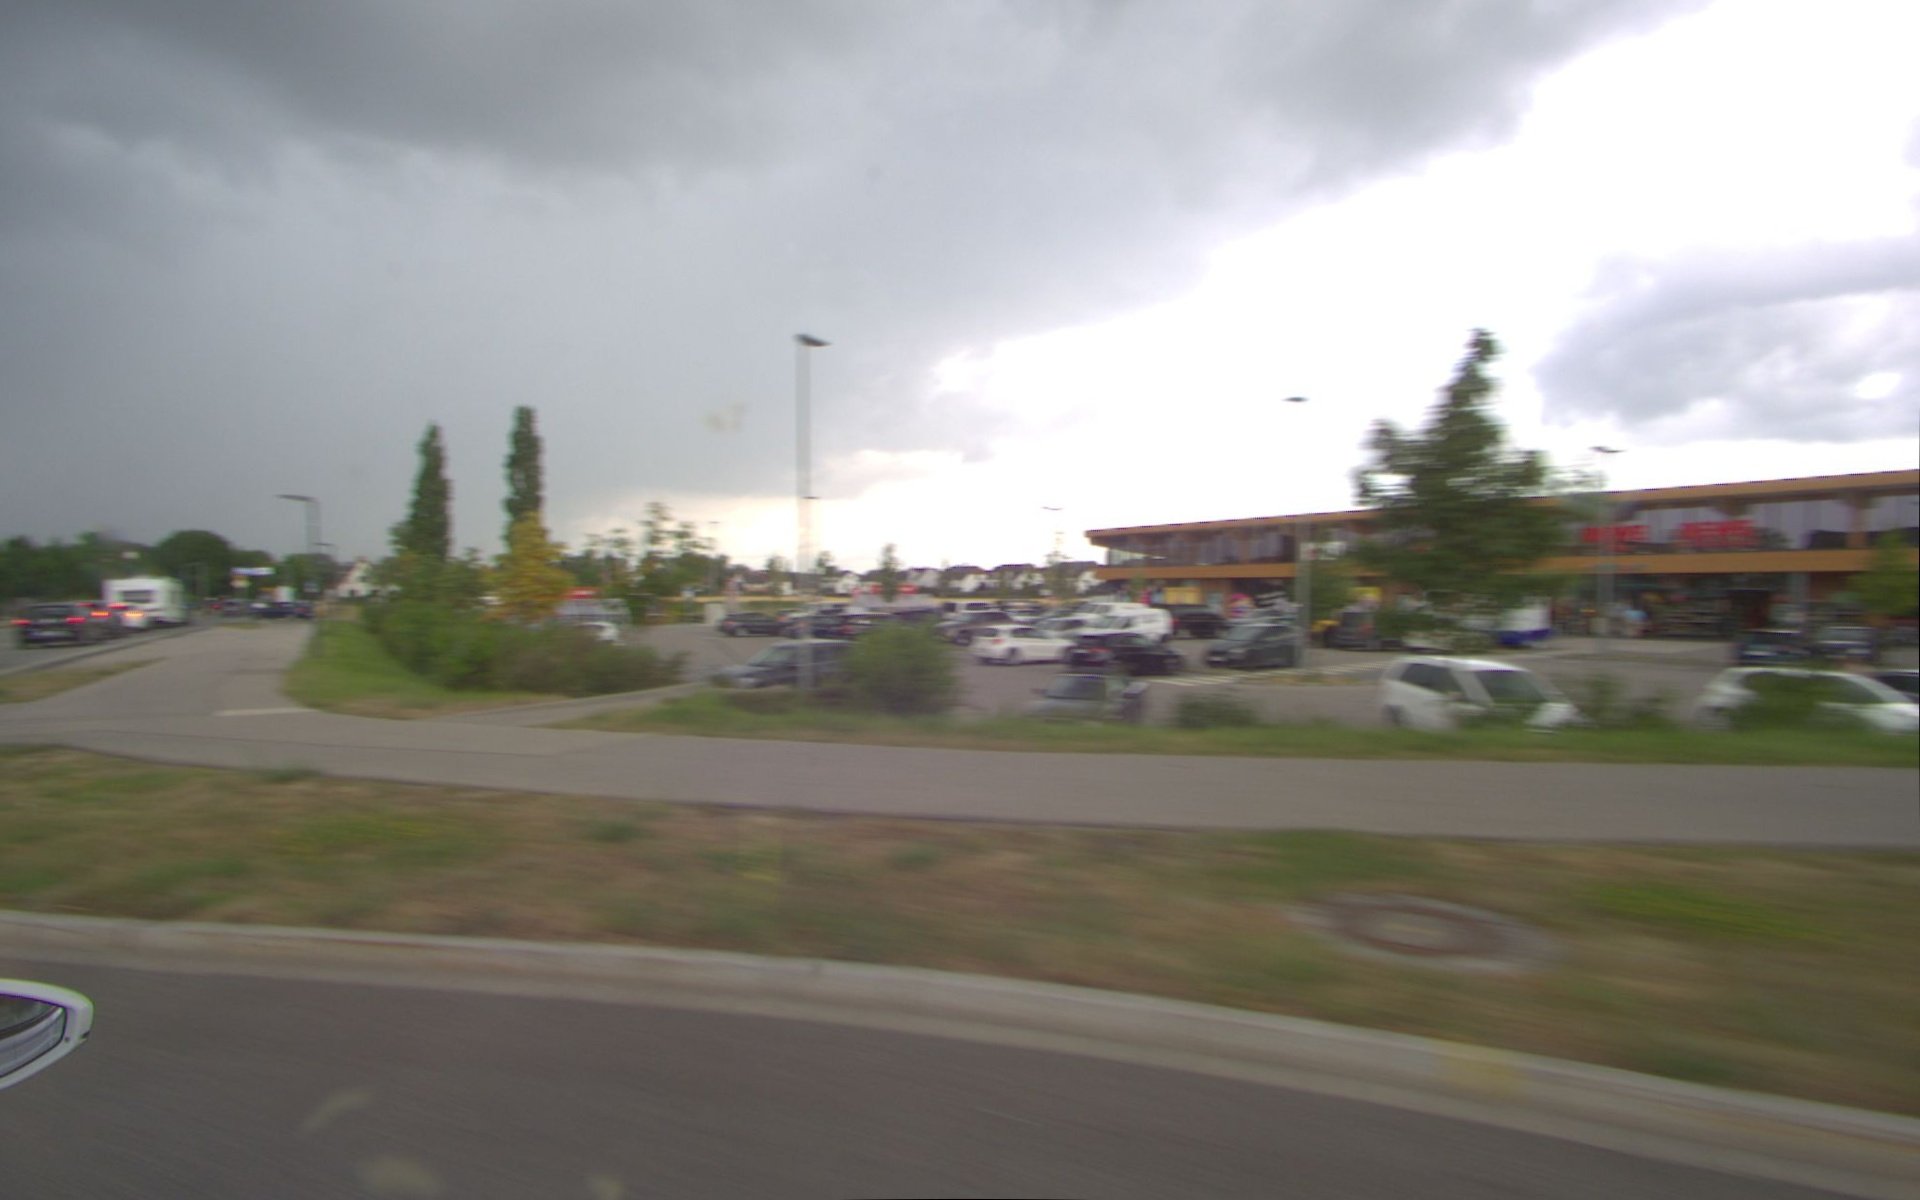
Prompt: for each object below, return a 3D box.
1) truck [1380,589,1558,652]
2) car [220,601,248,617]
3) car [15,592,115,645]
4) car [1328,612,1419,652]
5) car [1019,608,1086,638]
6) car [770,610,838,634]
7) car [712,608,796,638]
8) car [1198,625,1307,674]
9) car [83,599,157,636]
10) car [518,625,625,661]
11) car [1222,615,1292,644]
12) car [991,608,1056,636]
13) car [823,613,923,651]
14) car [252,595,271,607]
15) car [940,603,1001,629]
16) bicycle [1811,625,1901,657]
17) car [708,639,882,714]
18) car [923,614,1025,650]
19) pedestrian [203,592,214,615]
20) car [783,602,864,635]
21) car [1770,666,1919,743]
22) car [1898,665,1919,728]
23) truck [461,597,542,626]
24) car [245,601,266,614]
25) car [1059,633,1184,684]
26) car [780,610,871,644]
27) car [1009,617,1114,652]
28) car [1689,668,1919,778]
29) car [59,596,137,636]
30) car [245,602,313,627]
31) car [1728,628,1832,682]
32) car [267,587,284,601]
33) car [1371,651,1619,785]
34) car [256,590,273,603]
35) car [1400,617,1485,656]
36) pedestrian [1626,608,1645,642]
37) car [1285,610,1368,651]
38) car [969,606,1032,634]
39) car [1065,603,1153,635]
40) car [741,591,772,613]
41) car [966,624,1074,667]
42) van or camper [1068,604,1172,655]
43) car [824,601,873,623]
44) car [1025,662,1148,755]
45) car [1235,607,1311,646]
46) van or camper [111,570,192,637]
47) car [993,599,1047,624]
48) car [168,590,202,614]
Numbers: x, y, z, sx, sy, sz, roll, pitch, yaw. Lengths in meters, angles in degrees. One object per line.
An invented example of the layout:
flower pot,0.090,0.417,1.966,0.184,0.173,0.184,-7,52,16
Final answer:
truck,24.693,0.922,48.923,2.940,2.844,7.203,0,0,-37
car,-67.012,0.828,92.506,1.826,1.454,3.975,1,-1,-33
car,-29.329,0.579,32.922,1.758,1.639,3.976,-1,0,-32
car,18.638,1.426,45.084,4.066,1.747,1.841,1,-1,-34
car,6.014,1.492,65.320,3.941,1.862,1.990,0,0,-29
car,-10.630,1.464,68.275,4.265,1.598,1.758,0,0,-31
car,-12.298,1.365,59.820,4.509,1.686,1.988,0,0,-33
car,10.371,1.708,35.397,3.953,1.574,1.718,0,0,-38
car,-38.665,0.819,46.170,1.972,1.617,3.979,0,-1,-31
car,-17.448,1.910,45.033,4.188,1.459,1.988,0,0,-33
car,17.297,1.682,58.248,4.173,1.633,1.755,1,0,-36
car,4.298,1.466,67.859,3.943,1.862,1.990,0,0,-30
car,-4.115,1.508,47.454,4.405,1.728,1.792,1,0,-33
car,-91.243,0.151,130.876,1.826,1.454,3.975,1,-1,-33
car,0.741,1.132,72.307,3.942,1.862,1.990,0,0,-29
bicycle,39.886,1.802,44.623,0.967,1.326,2.851,0,0,-33
car,-4.049,1.827,24.915,3.957,1.628,1.775,0,-1,-41
car,0.740,1.567,50.724,4.923,1.686,1.988,0,0,-33
pedestrian,-65.689,0.309,87.561,0.571,2.039,0.678,2,-1,-26
car,-8.994,1.195,66.231,5.072,2.041,1.980,-1,2,-43
car,18.536,2.066,19.755,1.686,1.311,3.670,2,-1,-16
car,21.370,2.066,20.153,1.388,1.311,3.675,0,0,-4
truck,-31.053,0.795,67.852,4.753,1.897,1.985,1,0,-37
car,-80.225,0.894,114.069,1.826,1.454,3.975,1,-1,-33
car,5.269,1.839,32.488,3.951,1.417,1.822,0,1,-37
car,-7.080,1.369,52.792,4.358,1.686,1.988,0,0,-33
car,4.717,1.568,46.187,4.724,1.504,1.892,0,0,-33
car,15.811,2.111,18.075,1.963,1.527,3.996,0,-1,-13
car,-33.252,0.609,38.711,1.758,1.453,3.778,-1,0,-33
car,-51.801,1.100,76.186,3.925,1.817,1.617,0,0,-11
car,26.899,1.759,32.826,3.623,1.589,1.704,0,0,-35
car,-118.407,-1.027,173.202,1.970,2.241,3.981,0,0,-28
car,9.441,1.986,18.170,1.766,1.696,4.440,-1,2,-6
car,-103.910,-0.545,149.700,1.974,1.862,3.974,1,-1,-34
car,20.655,1.518,42.813,3.953,1.550,1.718,0,0,-38
pedestrian,34.539,1.273,51.207,0.741,1.679,0.799,1,1,39
car,17.641,1.424,48.133,3.946,1.879,1.761,1,0,-33
car,2.858,1.386,70.203,3.941,1.862,1.990,0,0,-29
car,8.963,1.135,59.975,5.232,1.855,1.988,1,-1,-33
car,-19.836,0.183,97.437,1.970,2.039,3.984,3,-1,-26
car,2.290,1.670,37.678,3.948,1.504,1.670,1,0,-37
van or camper,7.127,1.327,44.450,4.748,2.125,1.752,3,-2,-37
car,-10.062,1.102,90.302,3.943,1.861,1.990,3,-1,-29
car,2.514,1.991,19.206,1.553,1.390,3.725,0,-1,20
car,15.978,1.325,51.002,3.951,1.879,1.759,0,0,-37
van or camper,-43.295,0.254,53.786,2.598,3.367,6.781,0,-1,-33
car,4.726,0.897,79.028,3.941,1.865,1.865,0,0,-29
car,-69.723,0.194,90.135,1.972,2.040,3.978,1,0,-31
